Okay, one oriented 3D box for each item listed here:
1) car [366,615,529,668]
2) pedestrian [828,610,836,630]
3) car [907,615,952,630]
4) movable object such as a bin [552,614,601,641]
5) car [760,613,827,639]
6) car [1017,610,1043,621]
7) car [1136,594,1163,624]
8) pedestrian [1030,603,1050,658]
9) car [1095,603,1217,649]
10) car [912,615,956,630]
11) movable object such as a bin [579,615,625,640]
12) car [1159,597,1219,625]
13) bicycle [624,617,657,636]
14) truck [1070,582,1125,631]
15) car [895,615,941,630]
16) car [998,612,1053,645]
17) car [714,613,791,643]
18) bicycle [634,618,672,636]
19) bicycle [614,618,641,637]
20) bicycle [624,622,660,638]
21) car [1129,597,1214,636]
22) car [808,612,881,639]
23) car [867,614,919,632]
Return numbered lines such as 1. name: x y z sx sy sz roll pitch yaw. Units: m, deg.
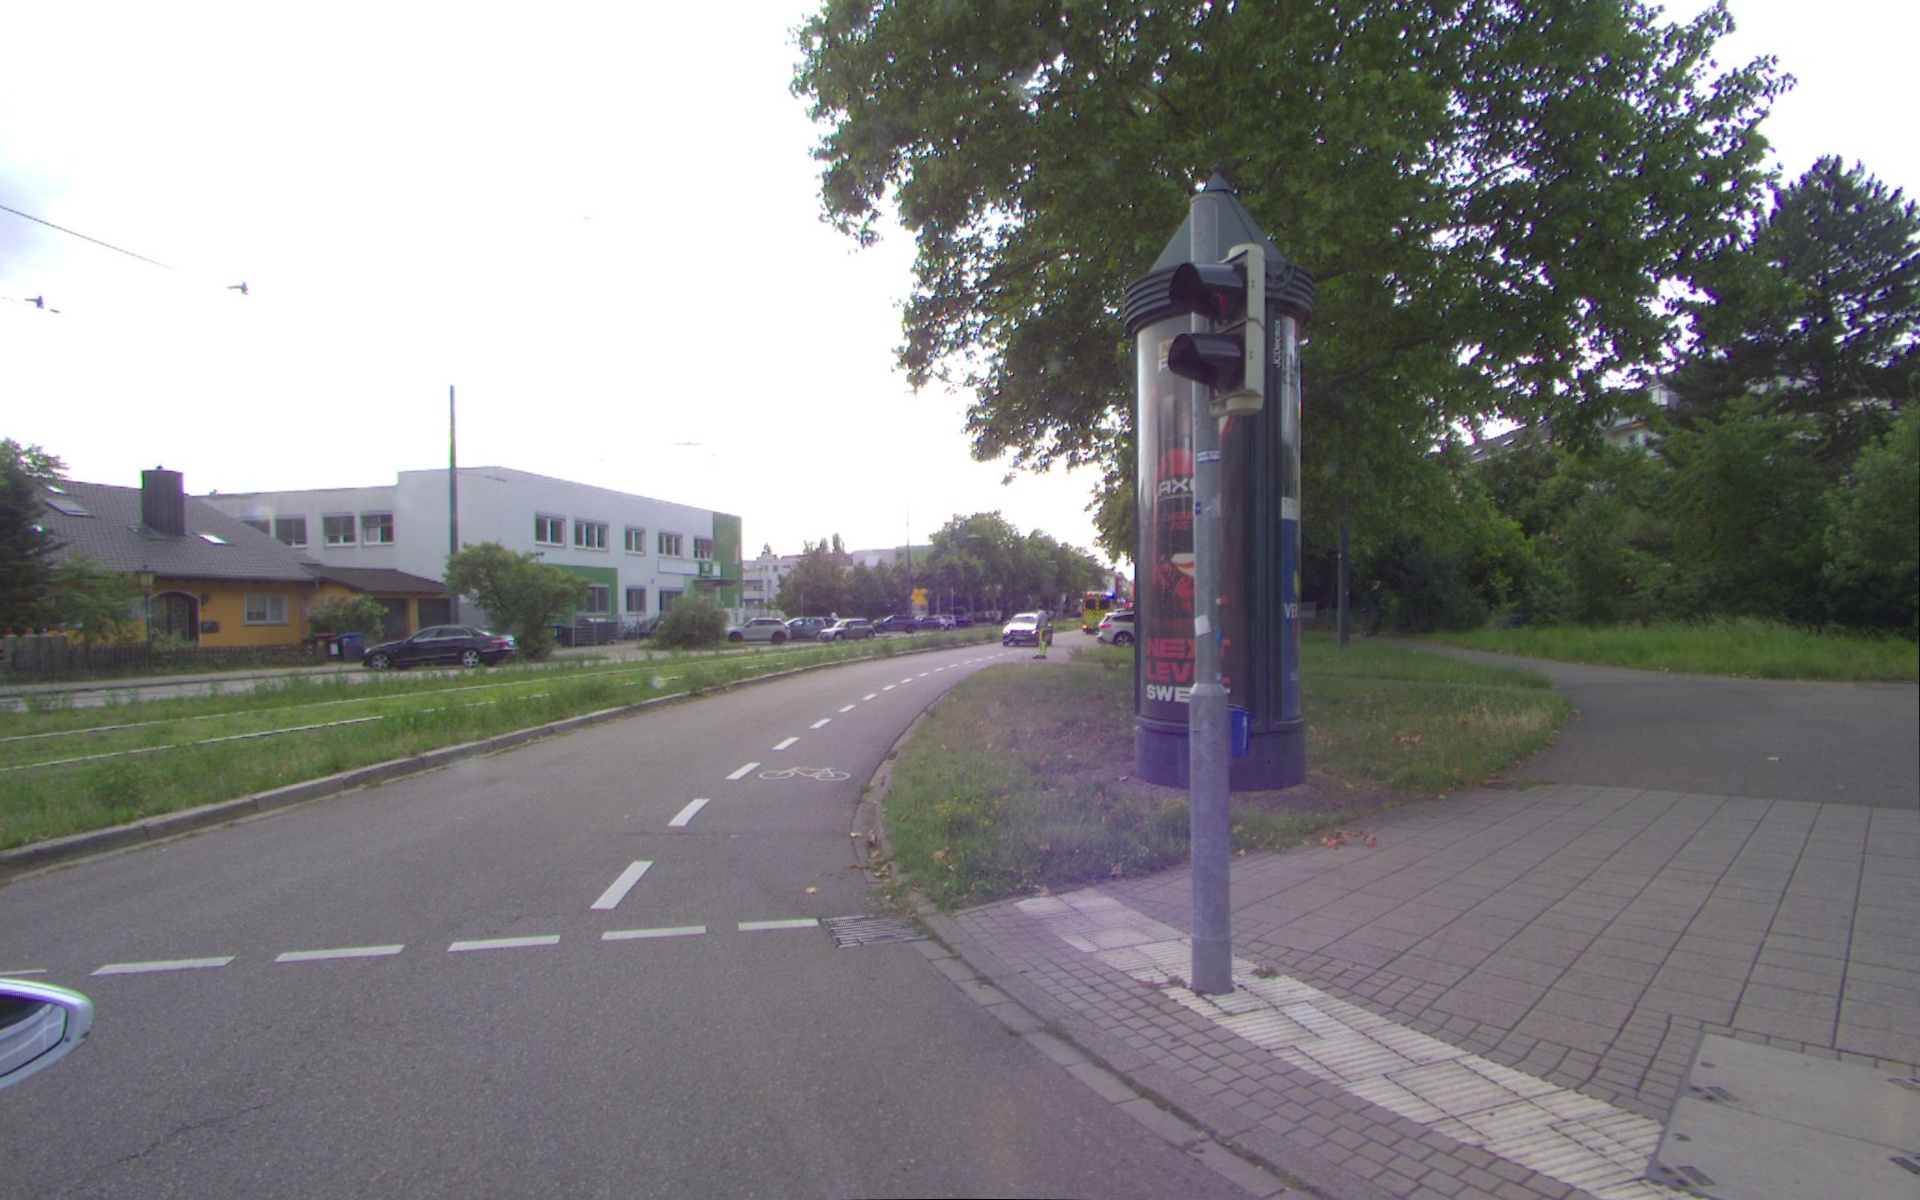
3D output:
1. car: -17.332 1.380 34.068 4.492 1.601 1.999 -2 0 -7
2. pedestrian: -10.816 1.661 84.651 0.586 1.697 0.541 -1 0 5
3. car: -3.053 2.225 98.932 4.233 1.381 1.901 -1 0 -9
4. movable object such as a bin: -20.020 1.444 52.306 1.352 1.344 2.114 -1 0 17
5. car: -10.941 1.674 65.661 4.237 1.650 1.899 0 0 -15
6. car: 11.995 2.633 171.609 3.931 1.862 1.818 2 0 -18
7. car: 22.290 1.059 117.814 2.919 3.373 7.456 1 -1 12
8. pedestrian: 2.511 0.953 31.451 0.576 1.706 0.494 0 0 12
9. car: 7.457 1.023 38.266 4.457 1.665 2.000 -1 -2 11
10. car: -2.679 2.274 101.503 4.233 1.381 1.901 -1 0 -9
11. movable object such as a bin: -19.454 1.490 54.419 1.352 1.344 2.128 -1 0 17
12. car: 29.656 1.404 130.011 7.315 3.374 2.975 1 0 9
13. bicycle: -19.297 1.615 60.415 1.763 1.096 0.736 -1 0 11
14. truck: 10.214 0.501 73.728 3.135 3.361 7.515 -1 0 14
15. car: -4.035 2.155 95.755 4.233 1.381 1.901 -1 0 -9
16. car: 3.077 1.265 46.020 1.806 1.411 4.603 0 -1 13
17. car: -12.388 1.648 59.771 4.241 1.650 1.897 -1 0 -20
18. bicycle: -19.624 1.727 64.008 2.310 1.181 0.759 -1 0 19
19. bicycle: -20.474 1.701 61.701 1.597 1.181 0.702 -1 0 30
20. bicycle: -20.053 1.904 63.178 2.120 0.983 0.730 -1 0 18
21. car: 11.687 0.930 55.268 4.473 2.040 1.998 -1 -1 14
22. car: -7.320 1.570 63.552 4.266 1.650 1.886 1 -1 -39
23. car: -5.742 1.953 85.594 4.234 1.381 1.901 -1 0 -11
